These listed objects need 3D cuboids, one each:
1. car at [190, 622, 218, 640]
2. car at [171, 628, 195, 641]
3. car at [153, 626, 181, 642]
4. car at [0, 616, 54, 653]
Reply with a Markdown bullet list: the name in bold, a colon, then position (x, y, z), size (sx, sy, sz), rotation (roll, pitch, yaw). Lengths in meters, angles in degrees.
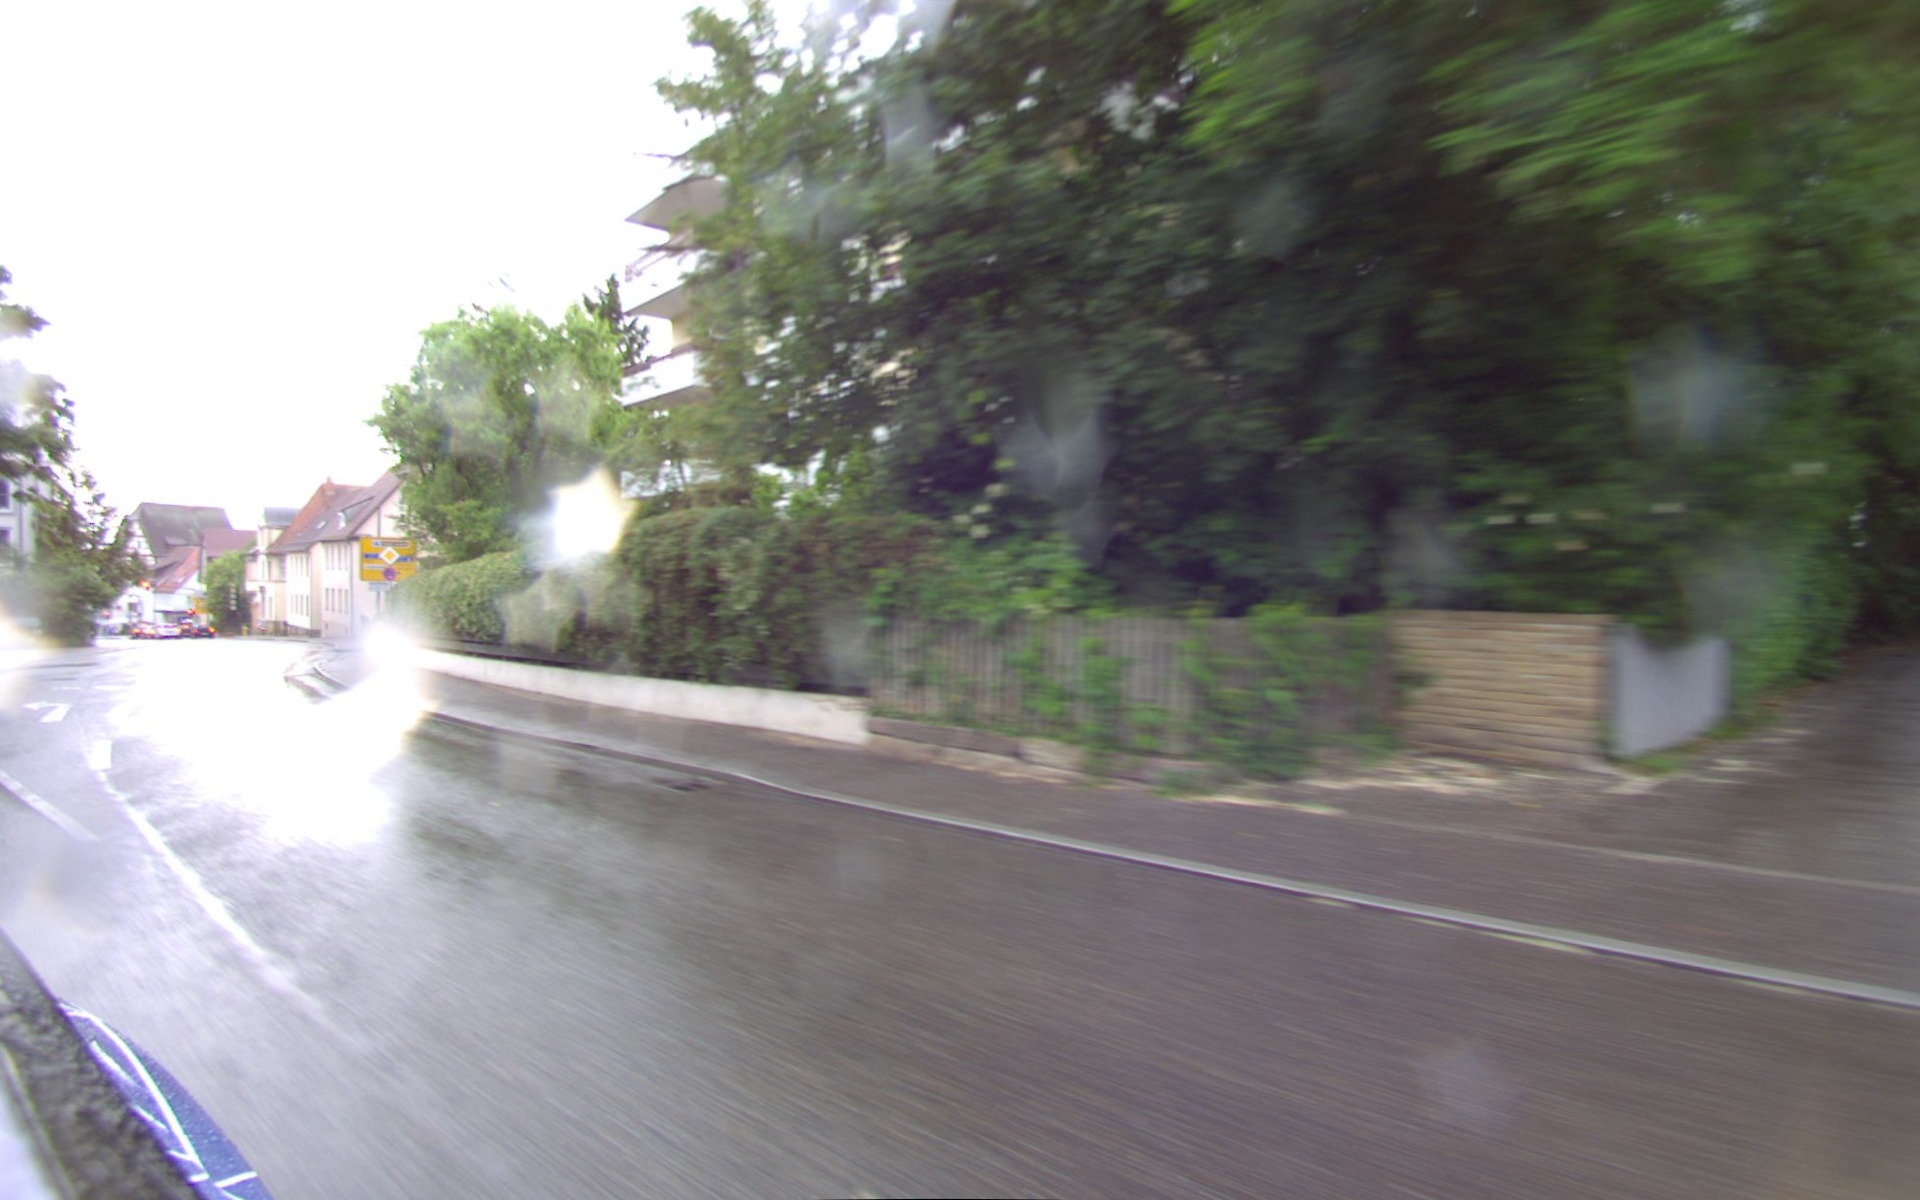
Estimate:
- **car**: position (-73.427, 2.975, 98.218), size (1.724, 1.583, 3.817), rotation (-5, 2, -43)
- **car**: position (-86.616, 3.841, 112.765), size (1.717, 1.364, 4.063), rotation (-1, -1, -43)
- **car**: position (-74.506, 3.211, 95.081), size (1.777, 1.450, 4.695), rotation (-1, -1, -41)
- **car**: position (-44.185, 1.621, 47.719), size (1.758, 1.582, 4.737), rotation (-3, 1, -38)
